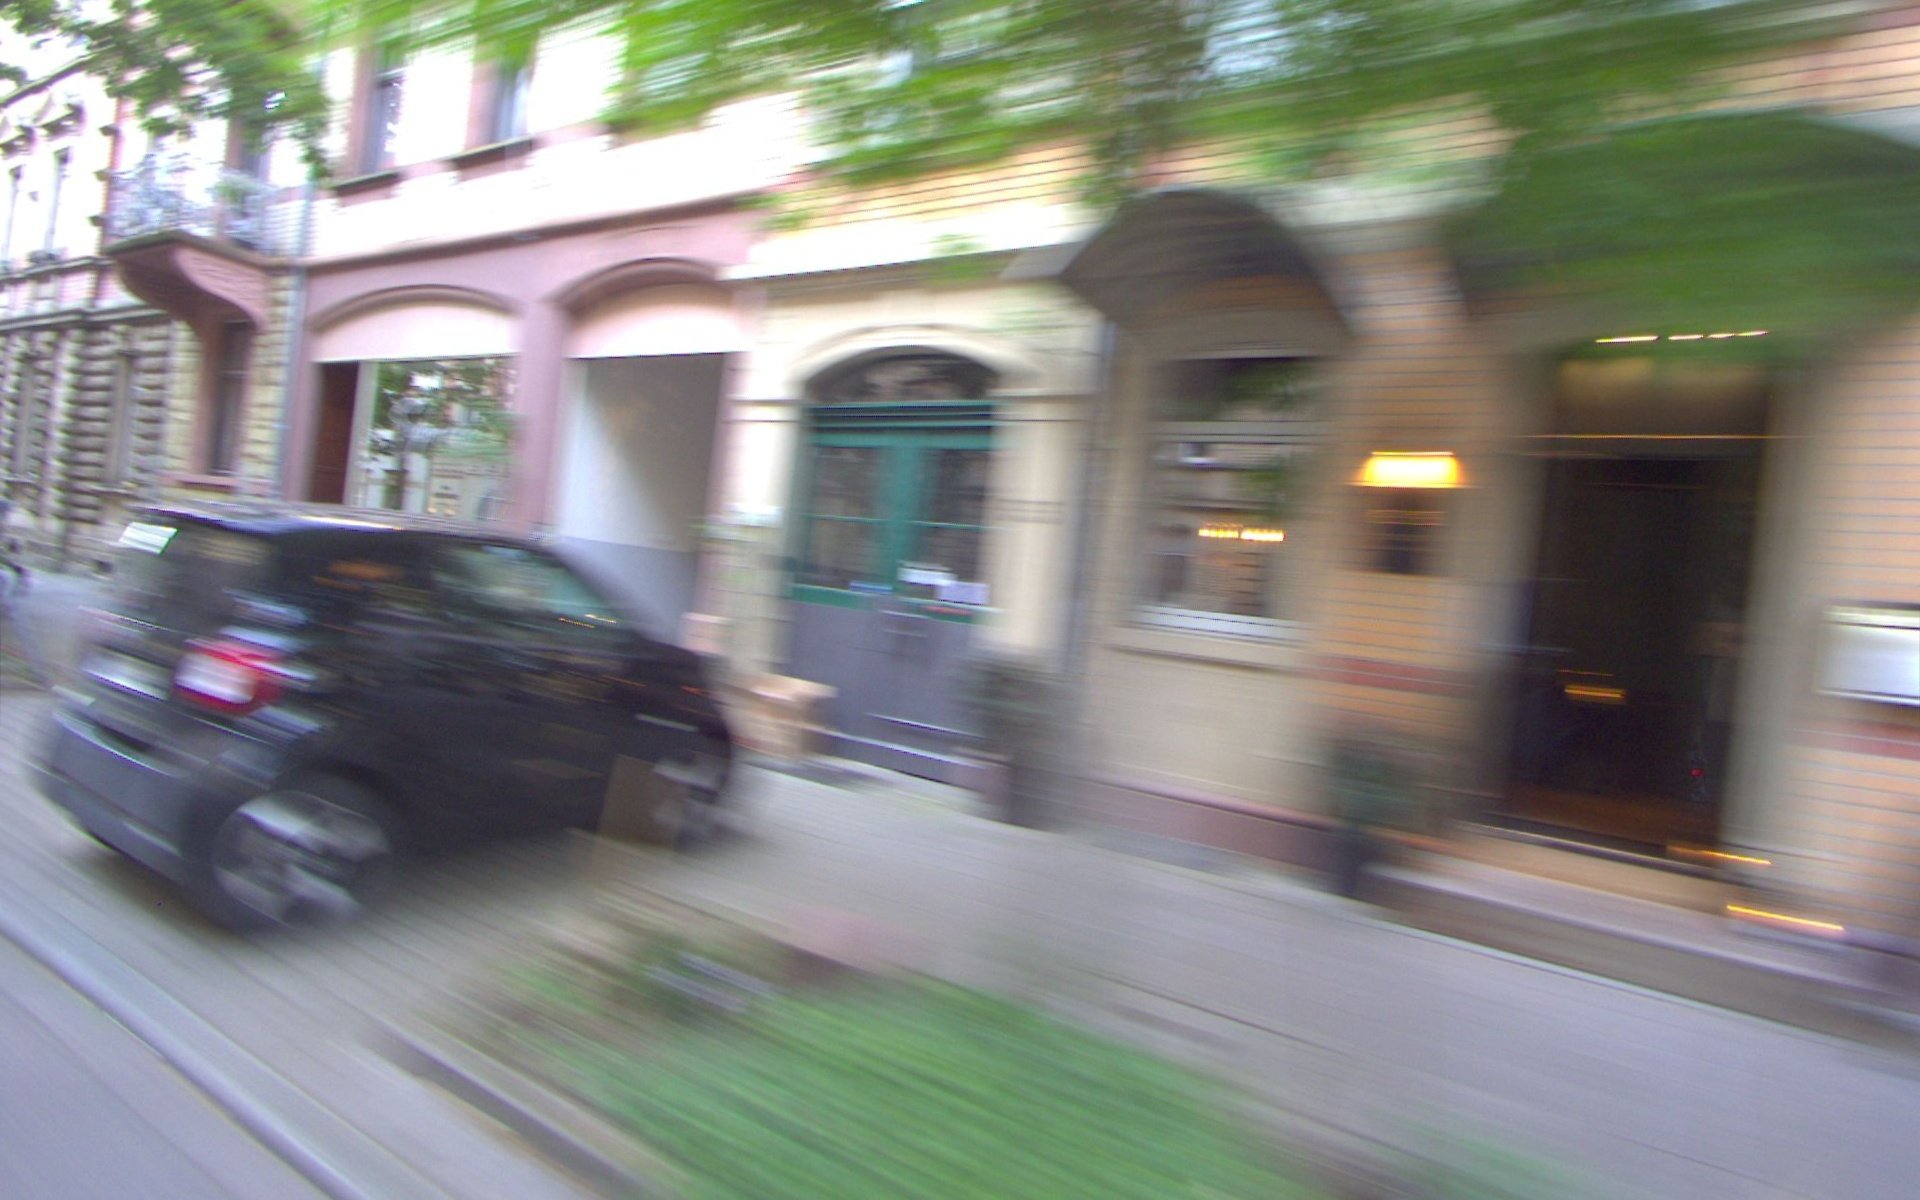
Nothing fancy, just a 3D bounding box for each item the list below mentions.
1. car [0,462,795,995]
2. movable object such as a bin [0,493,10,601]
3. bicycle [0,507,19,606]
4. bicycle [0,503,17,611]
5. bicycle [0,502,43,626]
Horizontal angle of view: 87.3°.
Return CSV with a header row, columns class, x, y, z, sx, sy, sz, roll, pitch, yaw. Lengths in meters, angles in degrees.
class,x,y,z,sx,sy,sz,roll,pitch,yaw
car,-2.442,0.369,4.753,1.771,1.621,2.796,7,3,32
movable object such as a bin,-12.739,-0.712,11.785,0.758,1.323,2.214,7,3,34
bicycle,-11.948,-0.591,11.452,0.573,1.158,1.658,7,0,35
bicycle,-11.535,-0.567,10.950,0.573,1.213,1.697,7,0,35
bicycle,-10.885,-0.434,10.493,0.788,1.311,1.762,7,2,31
